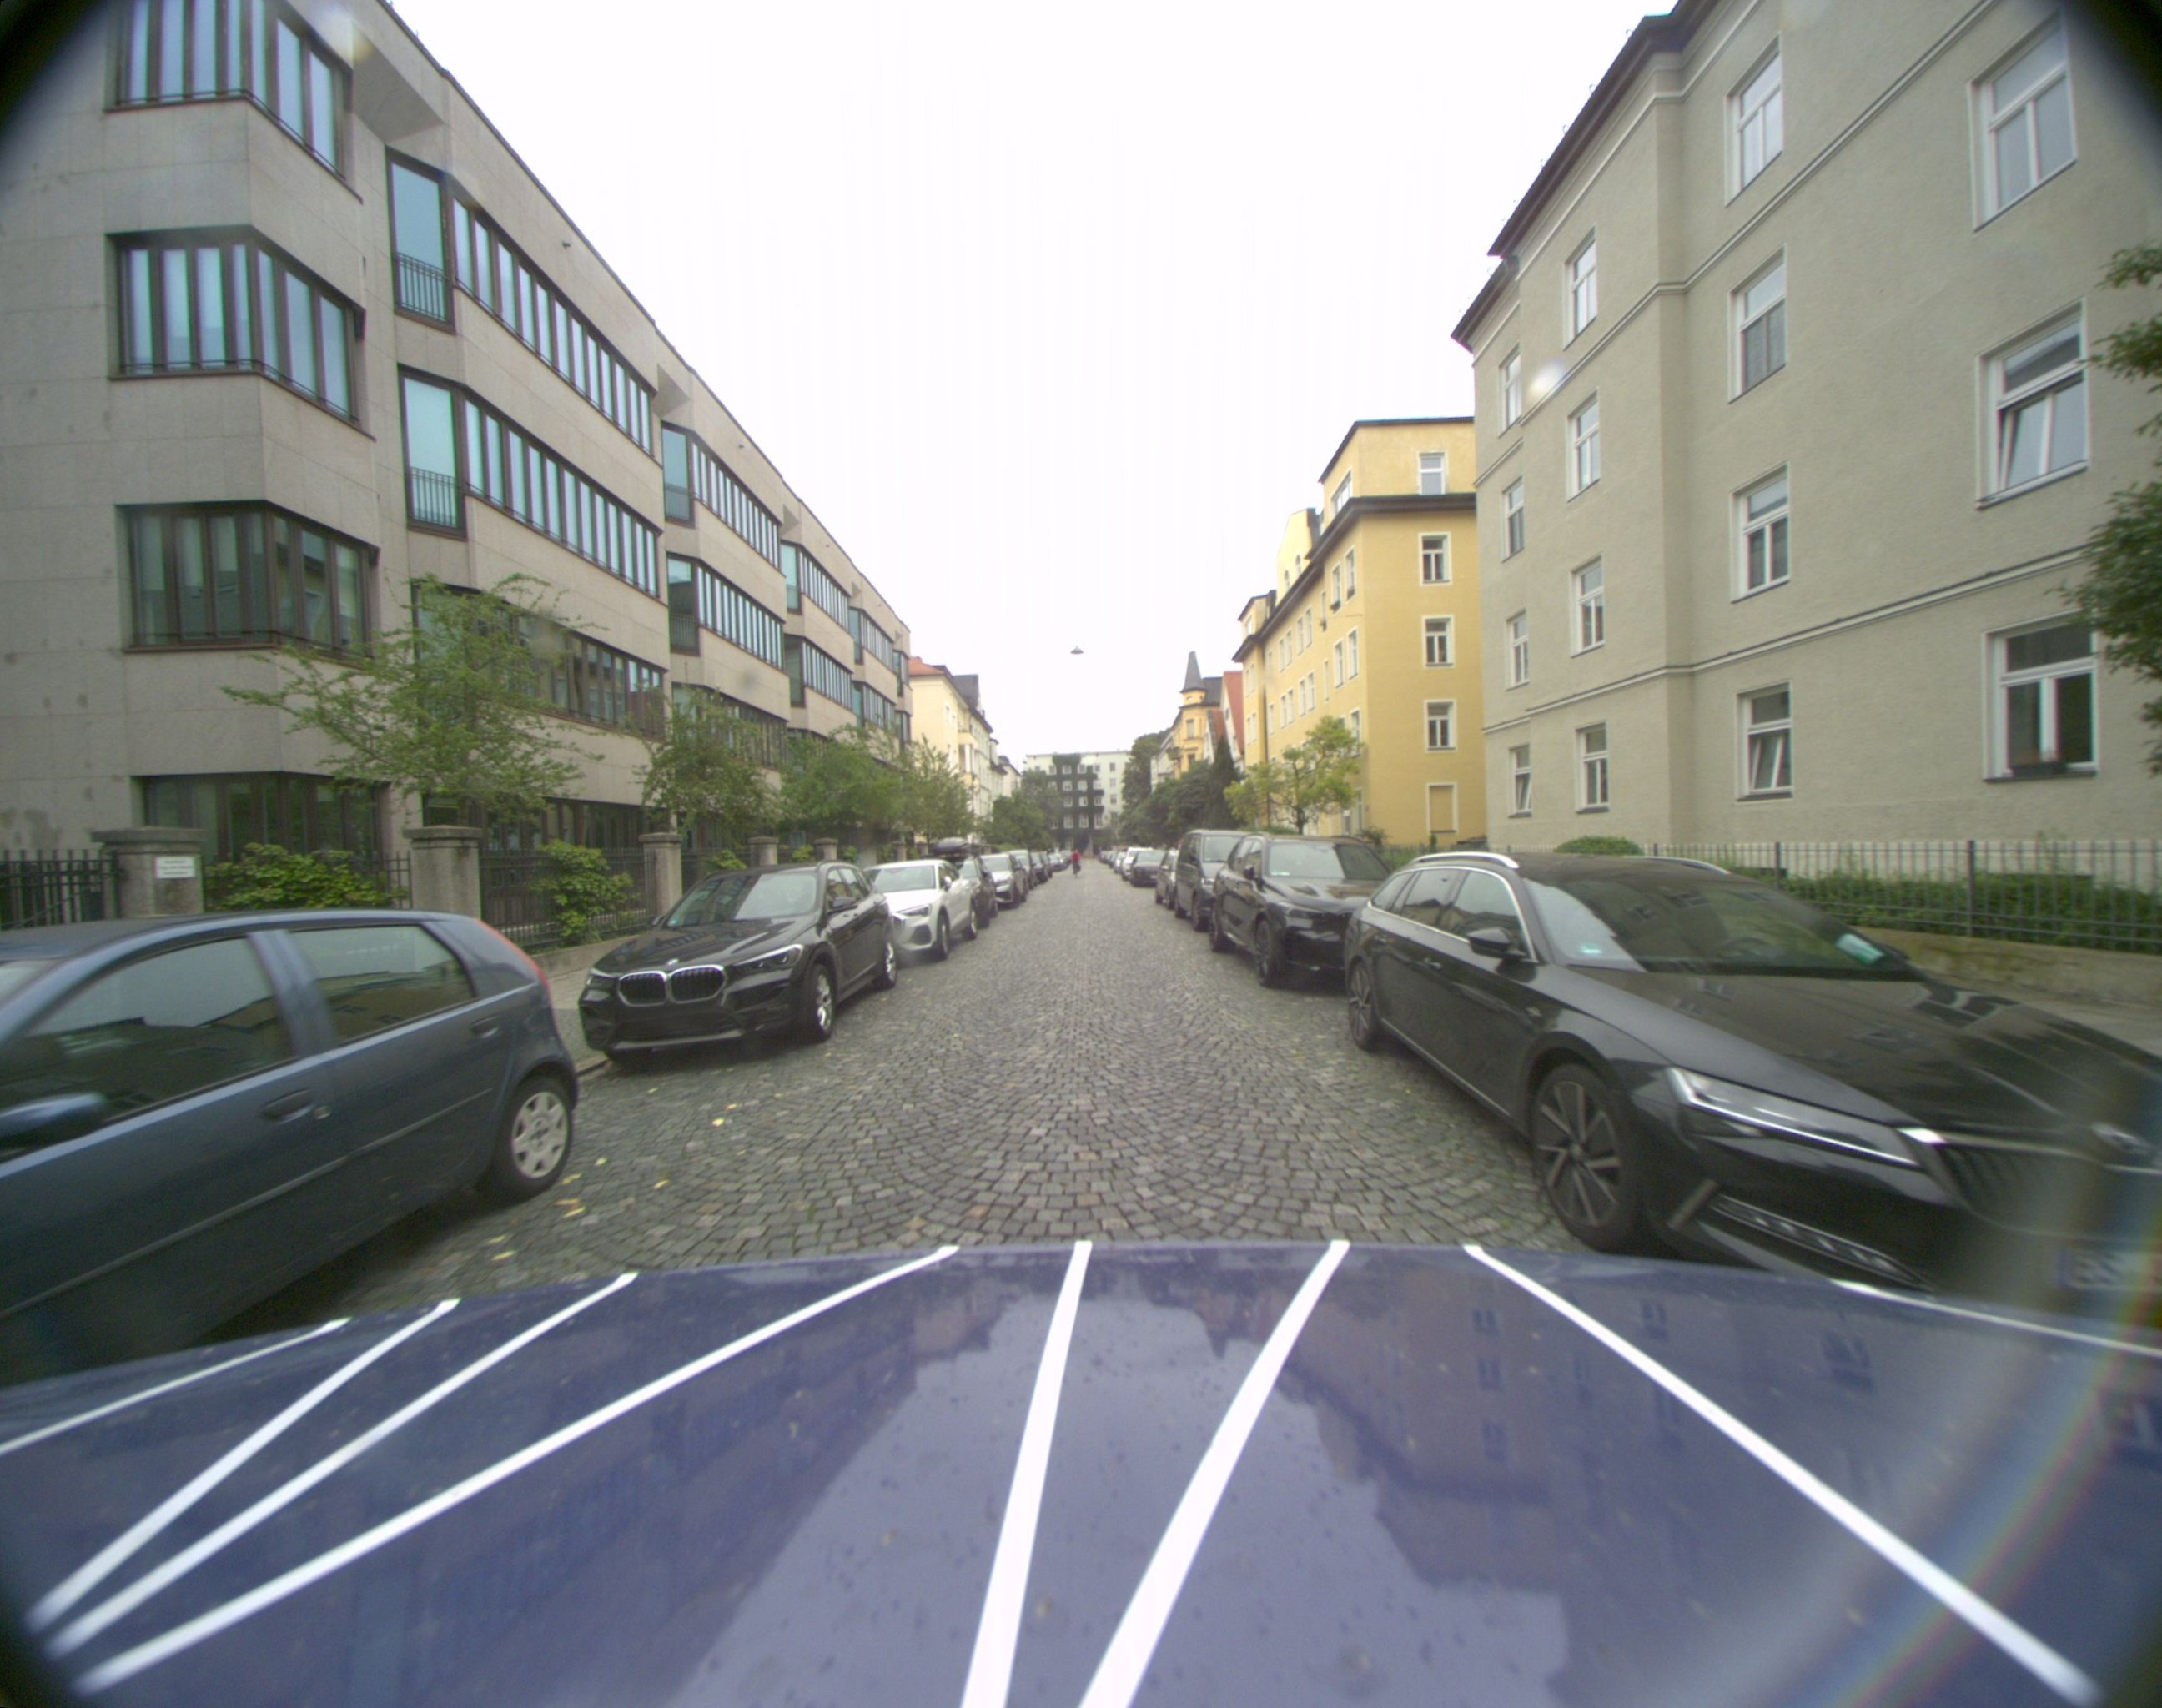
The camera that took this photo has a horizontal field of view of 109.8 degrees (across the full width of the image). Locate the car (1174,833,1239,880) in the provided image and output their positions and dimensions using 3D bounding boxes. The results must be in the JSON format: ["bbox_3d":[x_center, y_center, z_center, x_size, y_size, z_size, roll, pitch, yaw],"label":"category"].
[{"bbox_3d":[5.736,0.073,35.463,1.999,1.920,5.329,-4,1,0],"label":"car"}]

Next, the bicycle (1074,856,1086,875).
[{"bbox_3d":[-0.056,0.682,45.600,0.636,1.021,1.955,-3,1,0],"label":"bicycle"}]

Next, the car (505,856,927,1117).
[{"bbox_3d":[-3.094,0.966,7.793,1.878,1.660,4.657,-5,1,1],"label":"car"}]

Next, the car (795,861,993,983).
[{"bbox_3d":[-2.846,0.963,12.768,1.877,1.482,4.617,-4,0,3],"label":"car"}]

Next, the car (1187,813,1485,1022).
[{"bbox_3d":[2.725,0.569,9.642,1.998,1.906,5.176,1,1,0],"label":"car"}]

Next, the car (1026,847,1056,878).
[{"bbox_3d":[-2.519,0.502,48.726,1.623,1.741,3.886,-5,1,0],"label":"car"}]

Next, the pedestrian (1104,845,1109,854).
[{"bbox_3d":[5.160,-0.945,154.036,0.701,1.905,0.862,-4,2,3],"label":"pedestrian"}]

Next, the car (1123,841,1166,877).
[{"bbox_3d":[3.350,0.238,40.923,2.011,1.798,5.174,0,1,2],"label":"car"}]

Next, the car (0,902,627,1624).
[{"bbox_3d":[-3.342,1.067,2.186,1.699,1.432,4.060,-5,1,-3],"label":"car"}]

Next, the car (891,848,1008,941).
[{"bbox_3d":[-2.905,0.808,17.901,1.878,1.725,4.746,-6,1,-1],"label":"car"}]

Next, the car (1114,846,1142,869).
[{"bbox_3d":[3.325,0.247,54.295,1.718,1.553,4.390,0,1,1],"label":"car"}]

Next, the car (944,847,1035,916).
[{"bbox_3d":[-2.646,0.743,23.196,1.877,1.725,4.891,-4,1,2],"label":"car"}]

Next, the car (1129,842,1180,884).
[{"bbox_3d":[3.238,0.348,34.360,1.922,1.725,4.755,2,1,1],"label":"car"}]

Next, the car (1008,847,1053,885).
[{"bbox_3d":[-2.607,0.565,40.181,1.865,1.692,4.812,-5,1,1],"label":"car"}]

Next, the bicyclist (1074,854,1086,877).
[{"bbox_3d":[-0.050,0.696,45.493,0.648,1.351,0.656,-4,1,0],"label":"bicyclist"}]

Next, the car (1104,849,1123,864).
[{"bbox_3d":[3.723,0.265,87.827,1.744,1.577,4.190,-1,1,-2],"label":"car"}]

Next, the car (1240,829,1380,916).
[{"bbox_3d":[5.493,0.382,18.906,1.950,1.725,4.656,-5,1,0],"label":"car"}]

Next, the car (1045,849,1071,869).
[{"bbox_3d":[-2.106,0.432,69.976,1.998,1.543,4.985,-4,1,2],"label":"car"}]

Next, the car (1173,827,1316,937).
[{"bbox_3d":[3.118,0.464,15.570,1.878,1.906,4.826,0,1,0],"label":"car"}]

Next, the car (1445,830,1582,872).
[{"bbox_3d":[16.095,-0.137,28.419,4.077,1.415,1.833,-1,1,2],"label":"car"}]

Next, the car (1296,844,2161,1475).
[{"bbox_3d":[2.864,0.731,4.367,1.983,1.552,5.017,0,1,2],"label":"car"}]

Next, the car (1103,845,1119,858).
[{"bbox_3d":[3.930,-0.313,100.131,1.846,1.577,4.191,-1,1,-1],"label":"car"}]

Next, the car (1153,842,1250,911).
[{"bbox_3d":[3.227,0.541,21.202,1.870,1.725,4.402,0,1,-2],"label":"car"}]

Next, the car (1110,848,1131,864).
[{"bbox_3d":[3.649,0.171,70.021,1.819,1.447,4.912,0,1,2],"label":"car"}]

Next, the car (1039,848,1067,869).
[{"bbox_3d":[-2.320,0.377,64.750,1.998,1.543,5.014,-5,1,1],"label":"car"}]

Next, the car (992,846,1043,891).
[{"bbox_3d":[-2.828,0.598,34.743,1.793,1.786,4.508,-6,1,-1],"label":"car"}]
